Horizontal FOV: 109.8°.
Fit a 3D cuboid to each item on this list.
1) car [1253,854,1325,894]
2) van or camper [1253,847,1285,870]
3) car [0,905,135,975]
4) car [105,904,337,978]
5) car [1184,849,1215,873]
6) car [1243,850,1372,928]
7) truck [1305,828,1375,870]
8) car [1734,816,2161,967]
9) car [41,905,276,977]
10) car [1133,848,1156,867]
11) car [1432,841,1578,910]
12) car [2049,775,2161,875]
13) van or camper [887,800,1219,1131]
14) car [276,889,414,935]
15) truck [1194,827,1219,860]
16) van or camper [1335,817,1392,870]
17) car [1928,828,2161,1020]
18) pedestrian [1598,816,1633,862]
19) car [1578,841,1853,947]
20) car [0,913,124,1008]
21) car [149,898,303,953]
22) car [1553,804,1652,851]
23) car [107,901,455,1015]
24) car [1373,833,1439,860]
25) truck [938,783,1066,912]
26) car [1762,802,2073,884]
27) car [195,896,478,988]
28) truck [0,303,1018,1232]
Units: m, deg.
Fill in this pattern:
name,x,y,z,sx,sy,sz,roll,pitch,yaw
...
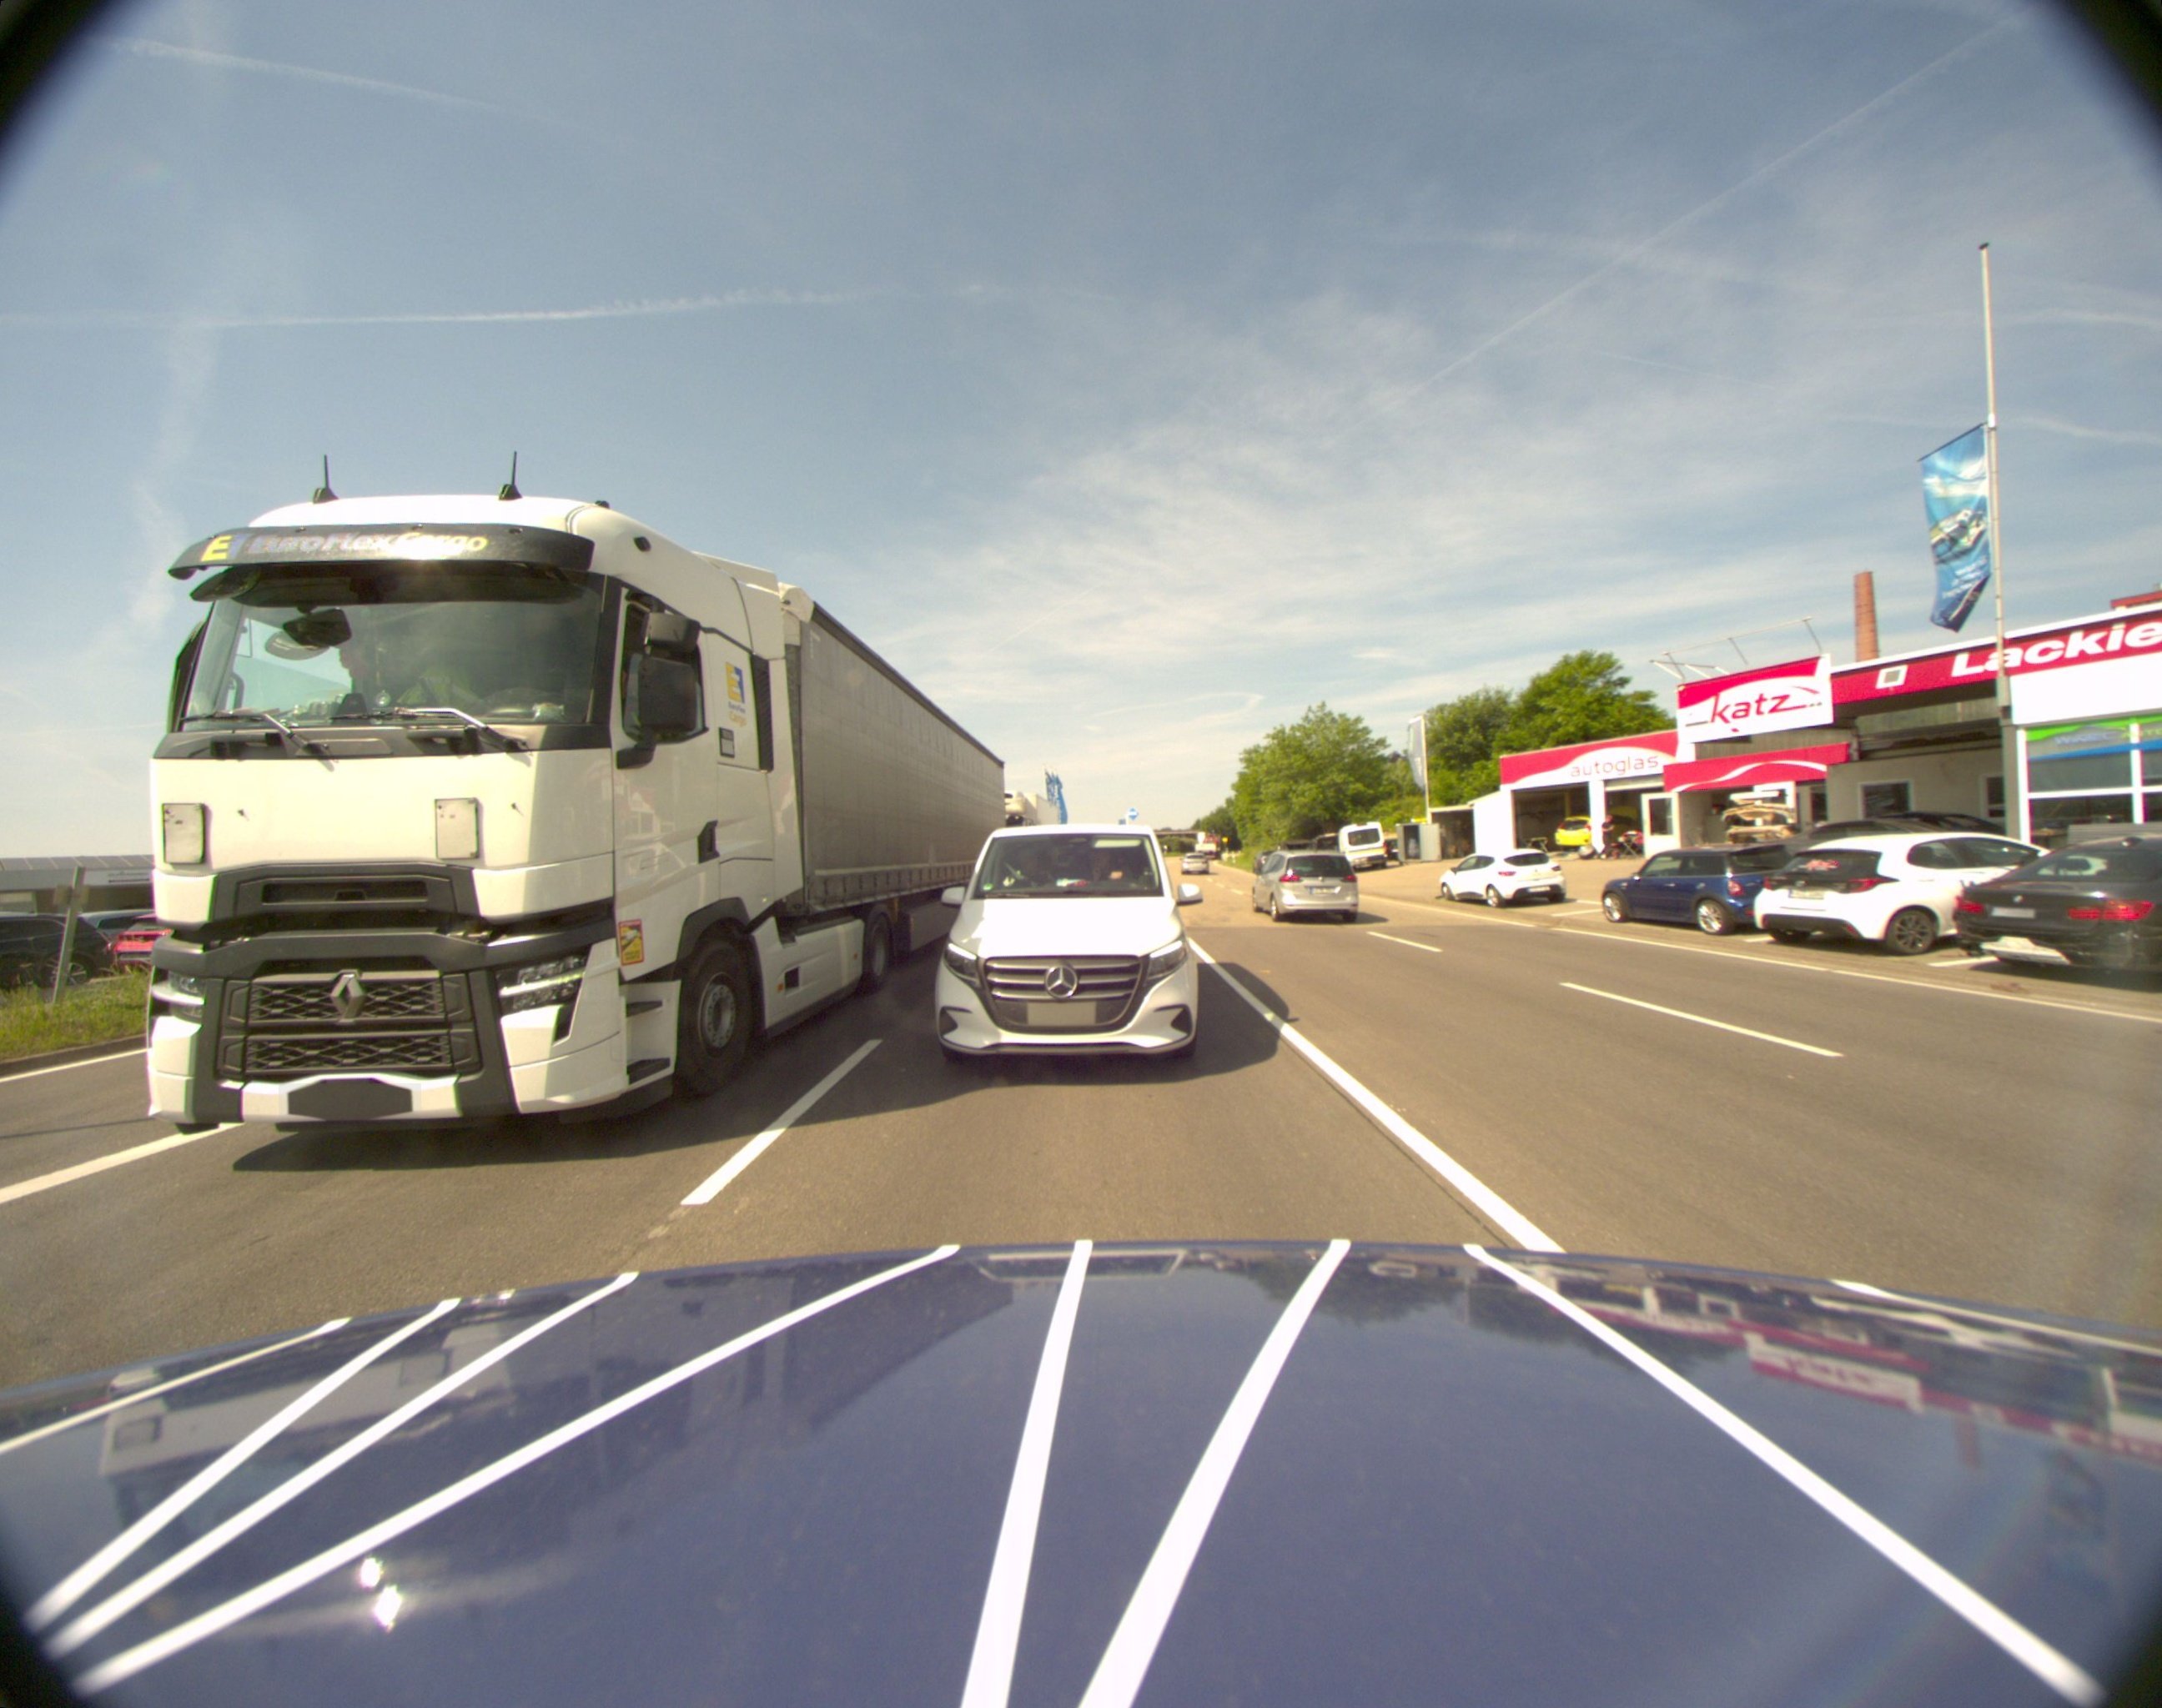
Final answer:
name,x,y,z,sx,sy,sz,roll,pitch,yaw
car,8.300,0.763,30.739,1.841,1.440,4.081,-2,0,1
van or camper,13.726,0.277,55.682,1.643,1.515,4.469,-3,1,6
car,-28.704,2.344,20.271,1.707,1.608,3.971,-3,0,6
car,-21.201,2.084,18.967,1.562,1.401,3.596,-1,1,3
car,8.214,0.461,52.998,1.913,1.512,4.783,-2,0,7
car,5.259,0.736,18.223,1.914,1.653,4.180,-1,0,1
truck,16.742,-0.346,49.675,2.335,2.283,8.806,-7,0,7
car,11.789,0.470,10.544,3.806,1.516,1.846,-6,1,-2
car,-23.568,2.156,19.635,1.562,1.401,3.596,-1,1,3
car,5.727,0.286,68.705,1.810,1.551,4.387,-2,0,2
car,11.262,0.513,20.539,1.783,1.608,4.000,-3,1,2
car,20.545,-0.584,13.522,1.706,1.749,3.754,-6,2,-24
van or camper,-0.058,0.701,7.394,1.998,2.002,5.291,-2,0,3
car,-30.597,2.356,31.784,1.789,1.565,4.000,-2,0,0
truck,17.030,-1.404,103.446,2.962,4.184,10.652,0,0,8
van or camper,15.418,-0.574,41.794,2.157,2.484,5.956,-6,0,15
car,11.477,0.551,7.714,3.717,1.516,1.792,-6,1,-2
pedestrian,20.959,-0.587,29.795,0.724,1.752,0.895,-3,1,4
car,11.155,0.609,13.773,1.783,1.485,3.782,-6,0,2
car,-21.435,2.136,13.996,1.998,1.647,4.283,-3,0,5
car,-30.393,2.515,27.060,3.648,1.641,1.755,-3,0,6
car,23.047,-1.171,33.597,3.674,1.715,1.736,-6,2,-21
car,-13.364,1.670,13.035,3.669,1.394,1.735,-3,0,-26
car,21.035,-0.480,49.188,3.675,1.521,1.736,-3,1,-22
truck,-2.496,-0.223,28.500,2.886,3.789,11.143,-2,0,3
car,19.040,-0.174,17.601,1.861,1.496,4.390,-5,-1,-22
car,-14.812,1.691,15.419,3.669,1.394,1.735,-3,0,-26
truck,-3.552,-0.414,11.918,2.897,4.241,16.710,-2,0,2
